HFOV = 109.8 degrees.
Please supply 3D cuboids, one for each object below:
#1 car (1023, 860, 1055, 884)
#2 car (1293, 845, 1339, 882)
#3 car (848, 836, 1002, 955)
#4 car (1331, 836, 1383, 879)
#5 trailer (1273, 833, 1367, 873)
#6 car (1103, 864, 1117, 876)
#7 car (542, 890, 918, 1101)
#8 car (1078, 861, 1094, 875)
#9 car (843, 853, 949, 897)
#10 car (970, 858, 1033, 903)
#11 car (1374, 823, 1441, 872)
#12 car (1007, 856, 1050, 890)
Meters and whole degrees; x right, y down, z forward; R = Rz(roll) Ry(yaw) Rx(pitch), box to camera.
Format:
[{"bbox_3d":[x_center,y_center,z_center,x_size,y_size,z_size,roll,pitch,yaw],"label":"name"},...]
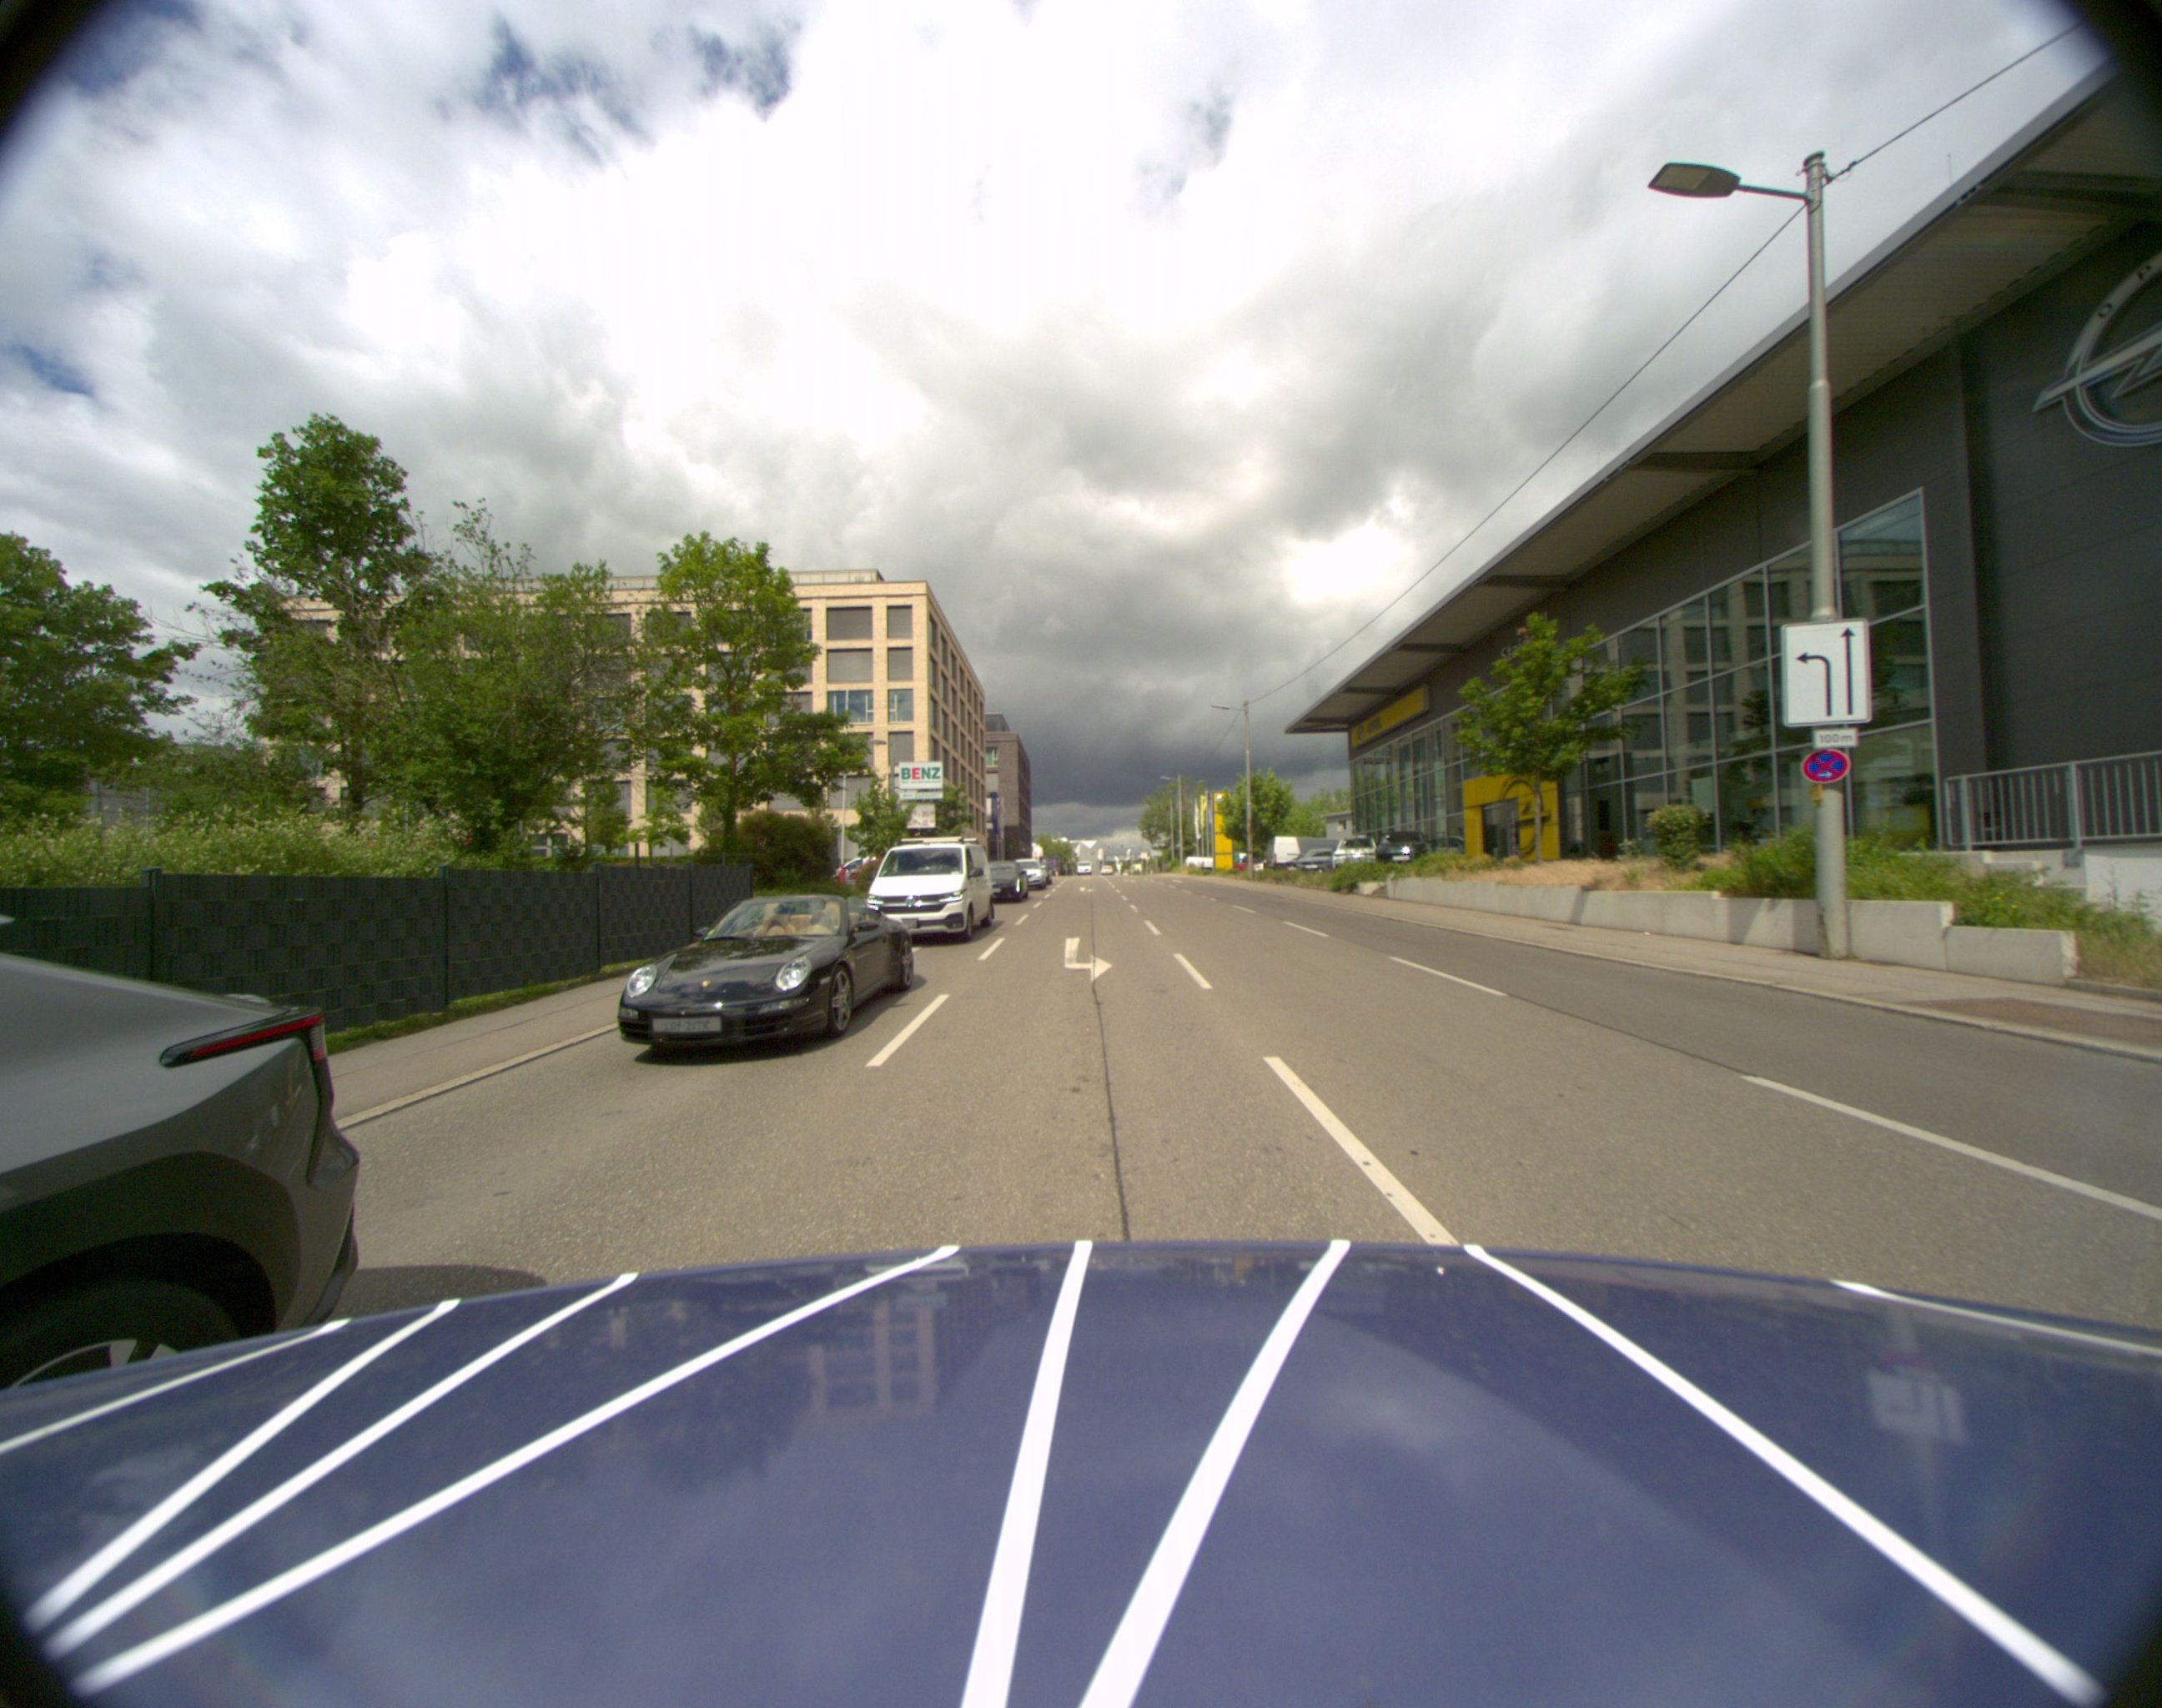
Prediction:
[{"bbox_3d":[-2.499,1.057,46.351,1.662,1.351,4.000,-1,0,1],"label":"car"},{"bbox_3d":[12.101,0.472,39.010,1.995,1.783,4.006,-1,0,21],"label":"car"},{"bbox_3d":[-3.022,0.733,15.885,2.089,2.037,4.760,-2,0,1],"label":"car"},{"bbox_3d":[12.162,0.132,33.437,1.995,1.783,4.006,-1,0,21],"label":"car"},{"bbox_3d":[14.445,-0.064,46.170,5.074,2.336,2.000,-1,1,-1],"label":"trailer"},{"bbox_3d":[4.475,2.471,116.878,1.998,1.731,4.547,-2,0,1],"label":"car"},{"bbox_3d":[-3.044,1.153,7.668,1.824,1.286,4.038,-2,0,1],"label":"car"},{"bbox_3d":[0.733,1.912,104.409,1.998,1.819,4.547,-2,0,2],"label":"car"},{"bbox_3d":[-7.634,0.831,31.666,3.998,1.723,1.822,-1,1,-3],"label":"car"},{"bbox_3d":[-2.835,0.914,27.883,1.818,1.454,4.000,-1,0,1],"label":"car"},{"bbox_3d":[12.330,-0.250,28.926,1.996,1.718,4.005,-1,0,18],"label":"car"},{"bbox_3d":[-2.599,0.898,38.424,1.818,1.577,4.000,-1,0,1],"label":"car"}]
